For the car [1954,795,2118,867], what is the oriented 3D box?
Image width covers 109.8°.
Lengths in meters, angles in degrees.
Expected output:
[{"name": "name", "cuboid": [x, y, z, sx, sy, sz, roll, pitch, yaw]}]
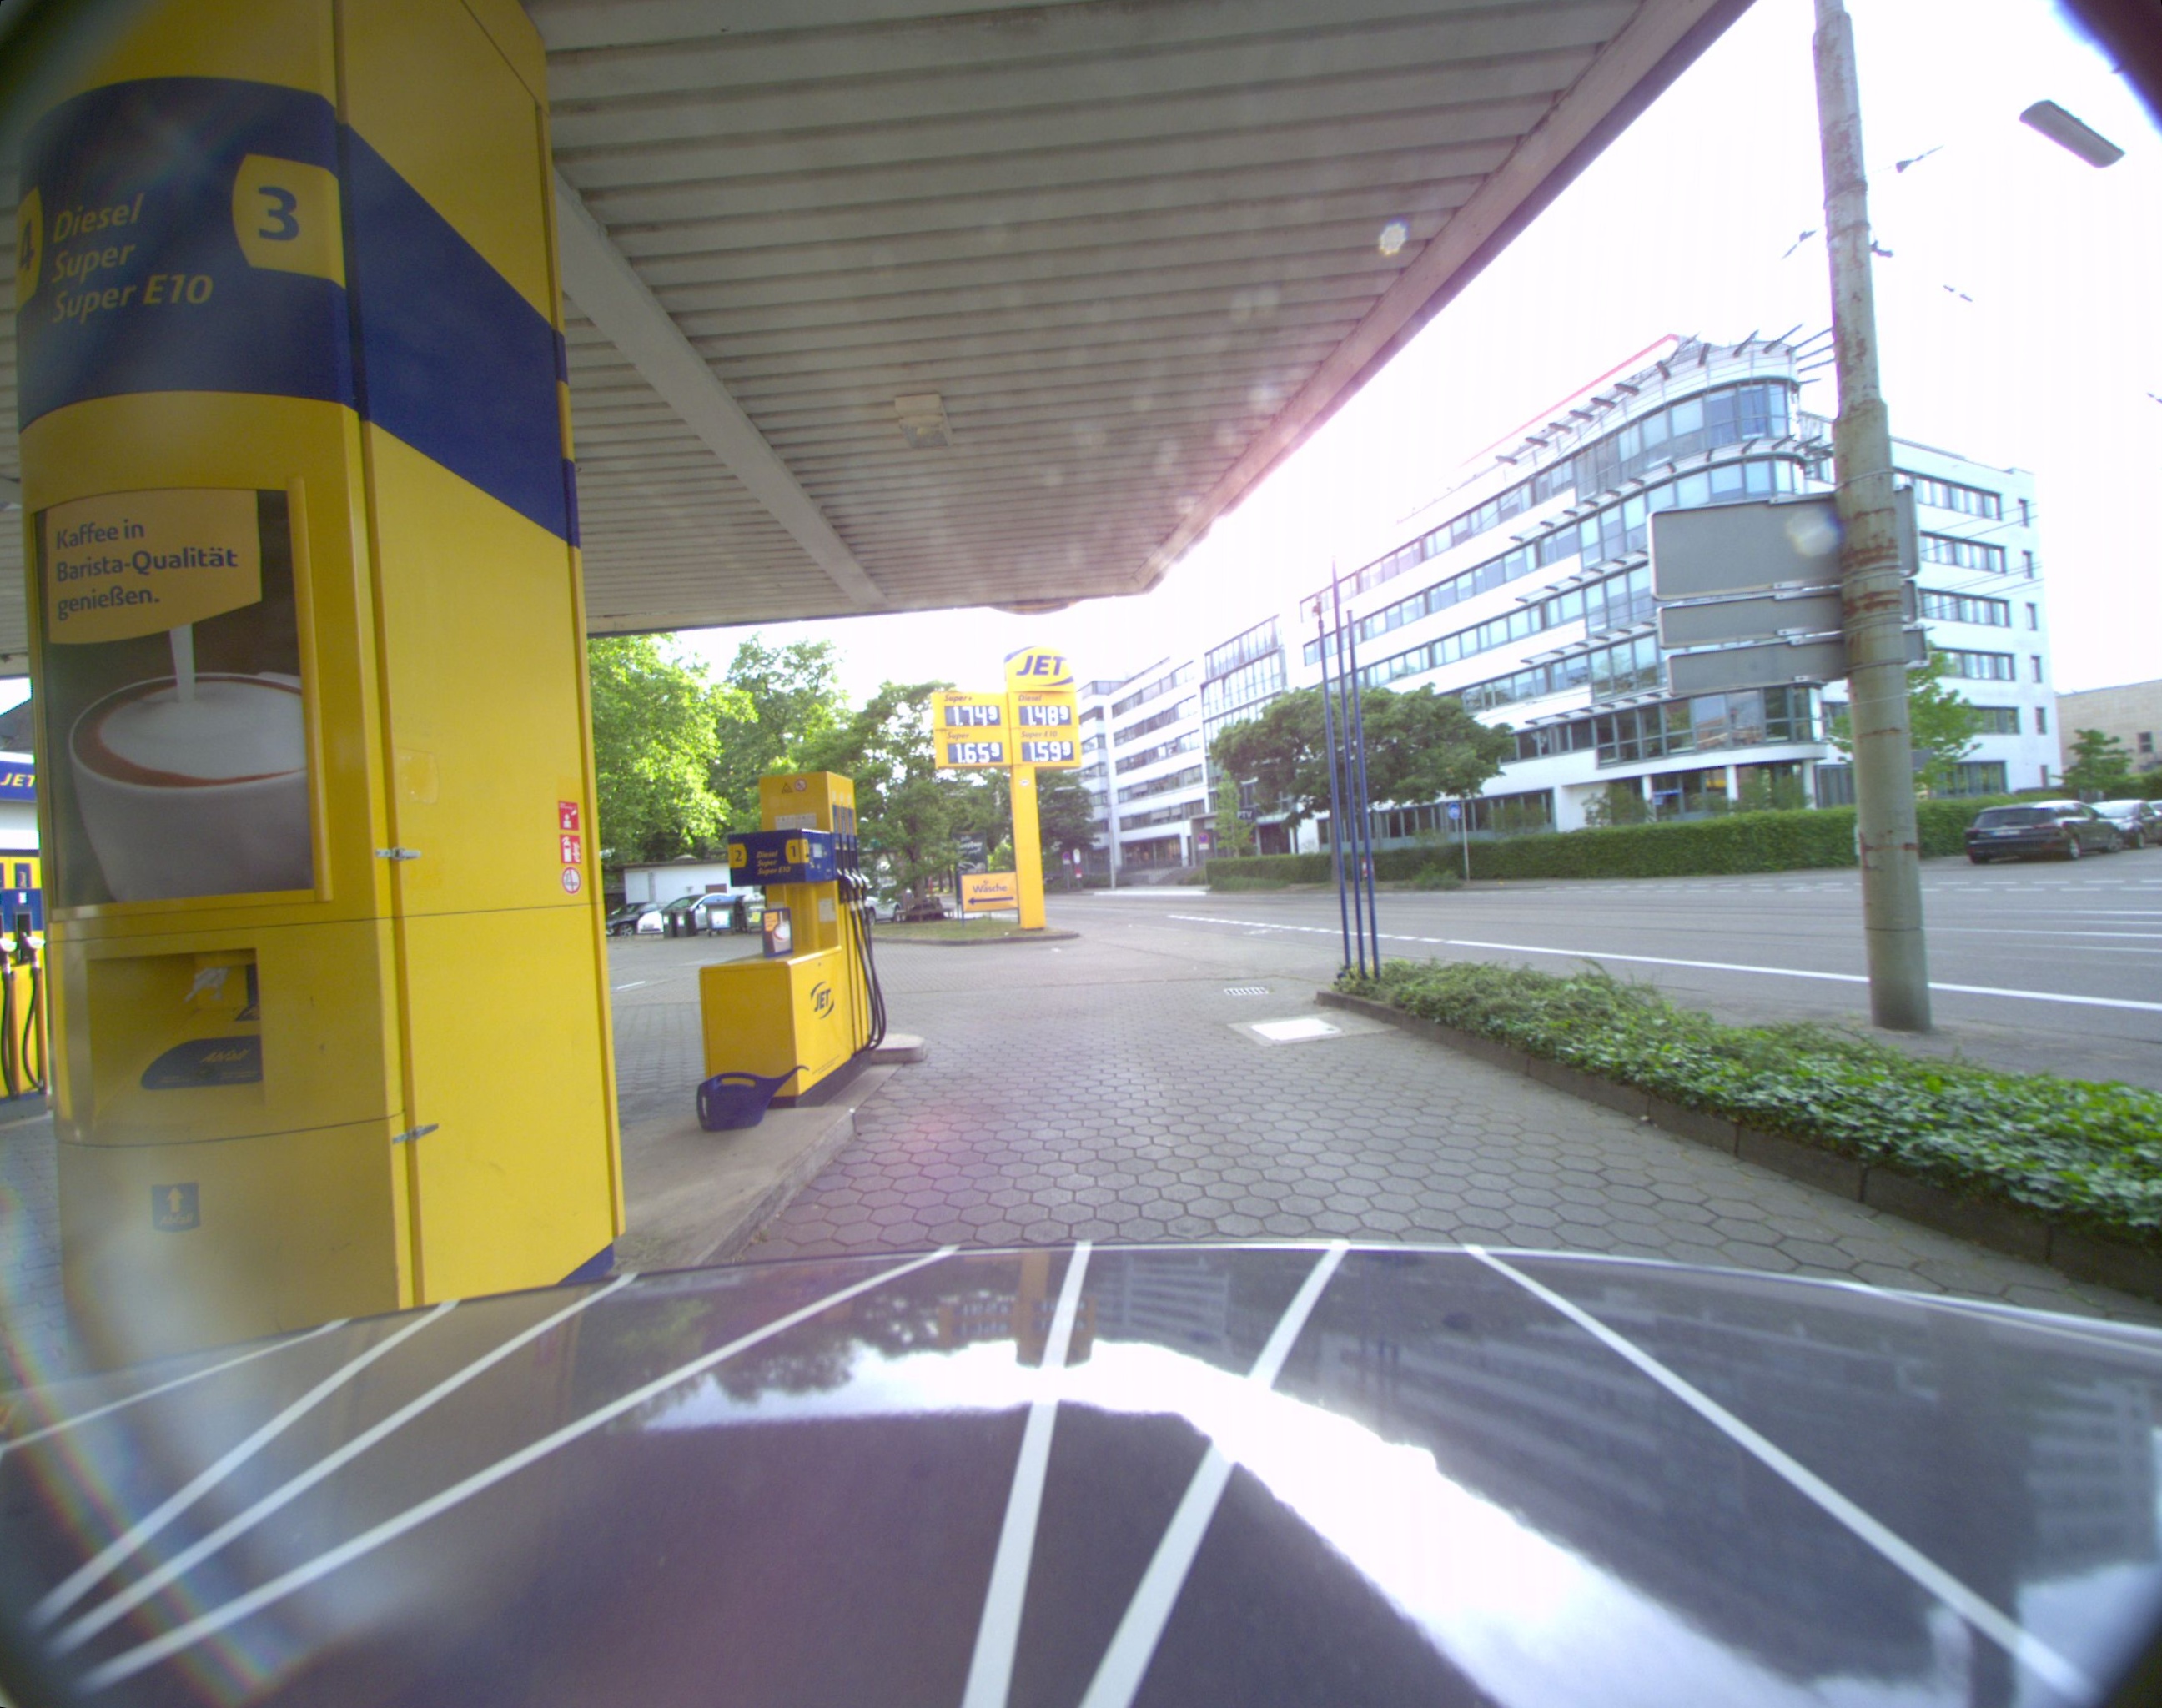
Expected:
[{"name": "car", "cuboid": [27.278, -0.664, 21.696, 4.296, 1.681, 2.010, -4, -1, -27]}]

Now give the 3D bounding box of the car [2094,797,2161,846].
[{"name": "car", "cuboid": [37.131, -1.196, 26.151, 4.296, 1.509, 1.945, -4, -1, -27]}]

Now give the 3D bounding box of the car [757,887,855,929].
[{"name": "car", "cuboid": [-11.651, 2.263, 32.497, 1.771, 1.591, 4.400, -4, -4, 13]}]

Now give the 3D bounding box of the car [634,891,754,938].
[{"name": "car", "cuboid": [-15.289, 2.360, 30.319, 1.771, 1.591, 4.398, -2, -1, 14]}]

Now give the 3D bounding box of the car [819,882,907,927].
[{"name": "car", "cuboid": [-8.633, 1.998, 30.507, 1.772, 1.591, 4.398, -4, -3, 6]}]

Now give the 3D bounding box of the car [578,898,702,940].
[{"name": "car", "cuboid": [-17.791, 2.586, 30.912, 1.771, 1.367, 4.398, -2, -1, 14]}]

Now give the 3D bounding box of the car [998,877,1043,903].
[{"name": "car", "cuboid": [-3.805, 2.241, 47.227, 1.691, 1.424, 3.422, -4, -1, -22]}]

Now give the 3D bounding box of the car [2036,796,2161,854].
[{"name": "car", "cuboid": [32.549, -0.940, 24.098, 4.296, 1.530, 1.945, -4, -1, -27]}]
